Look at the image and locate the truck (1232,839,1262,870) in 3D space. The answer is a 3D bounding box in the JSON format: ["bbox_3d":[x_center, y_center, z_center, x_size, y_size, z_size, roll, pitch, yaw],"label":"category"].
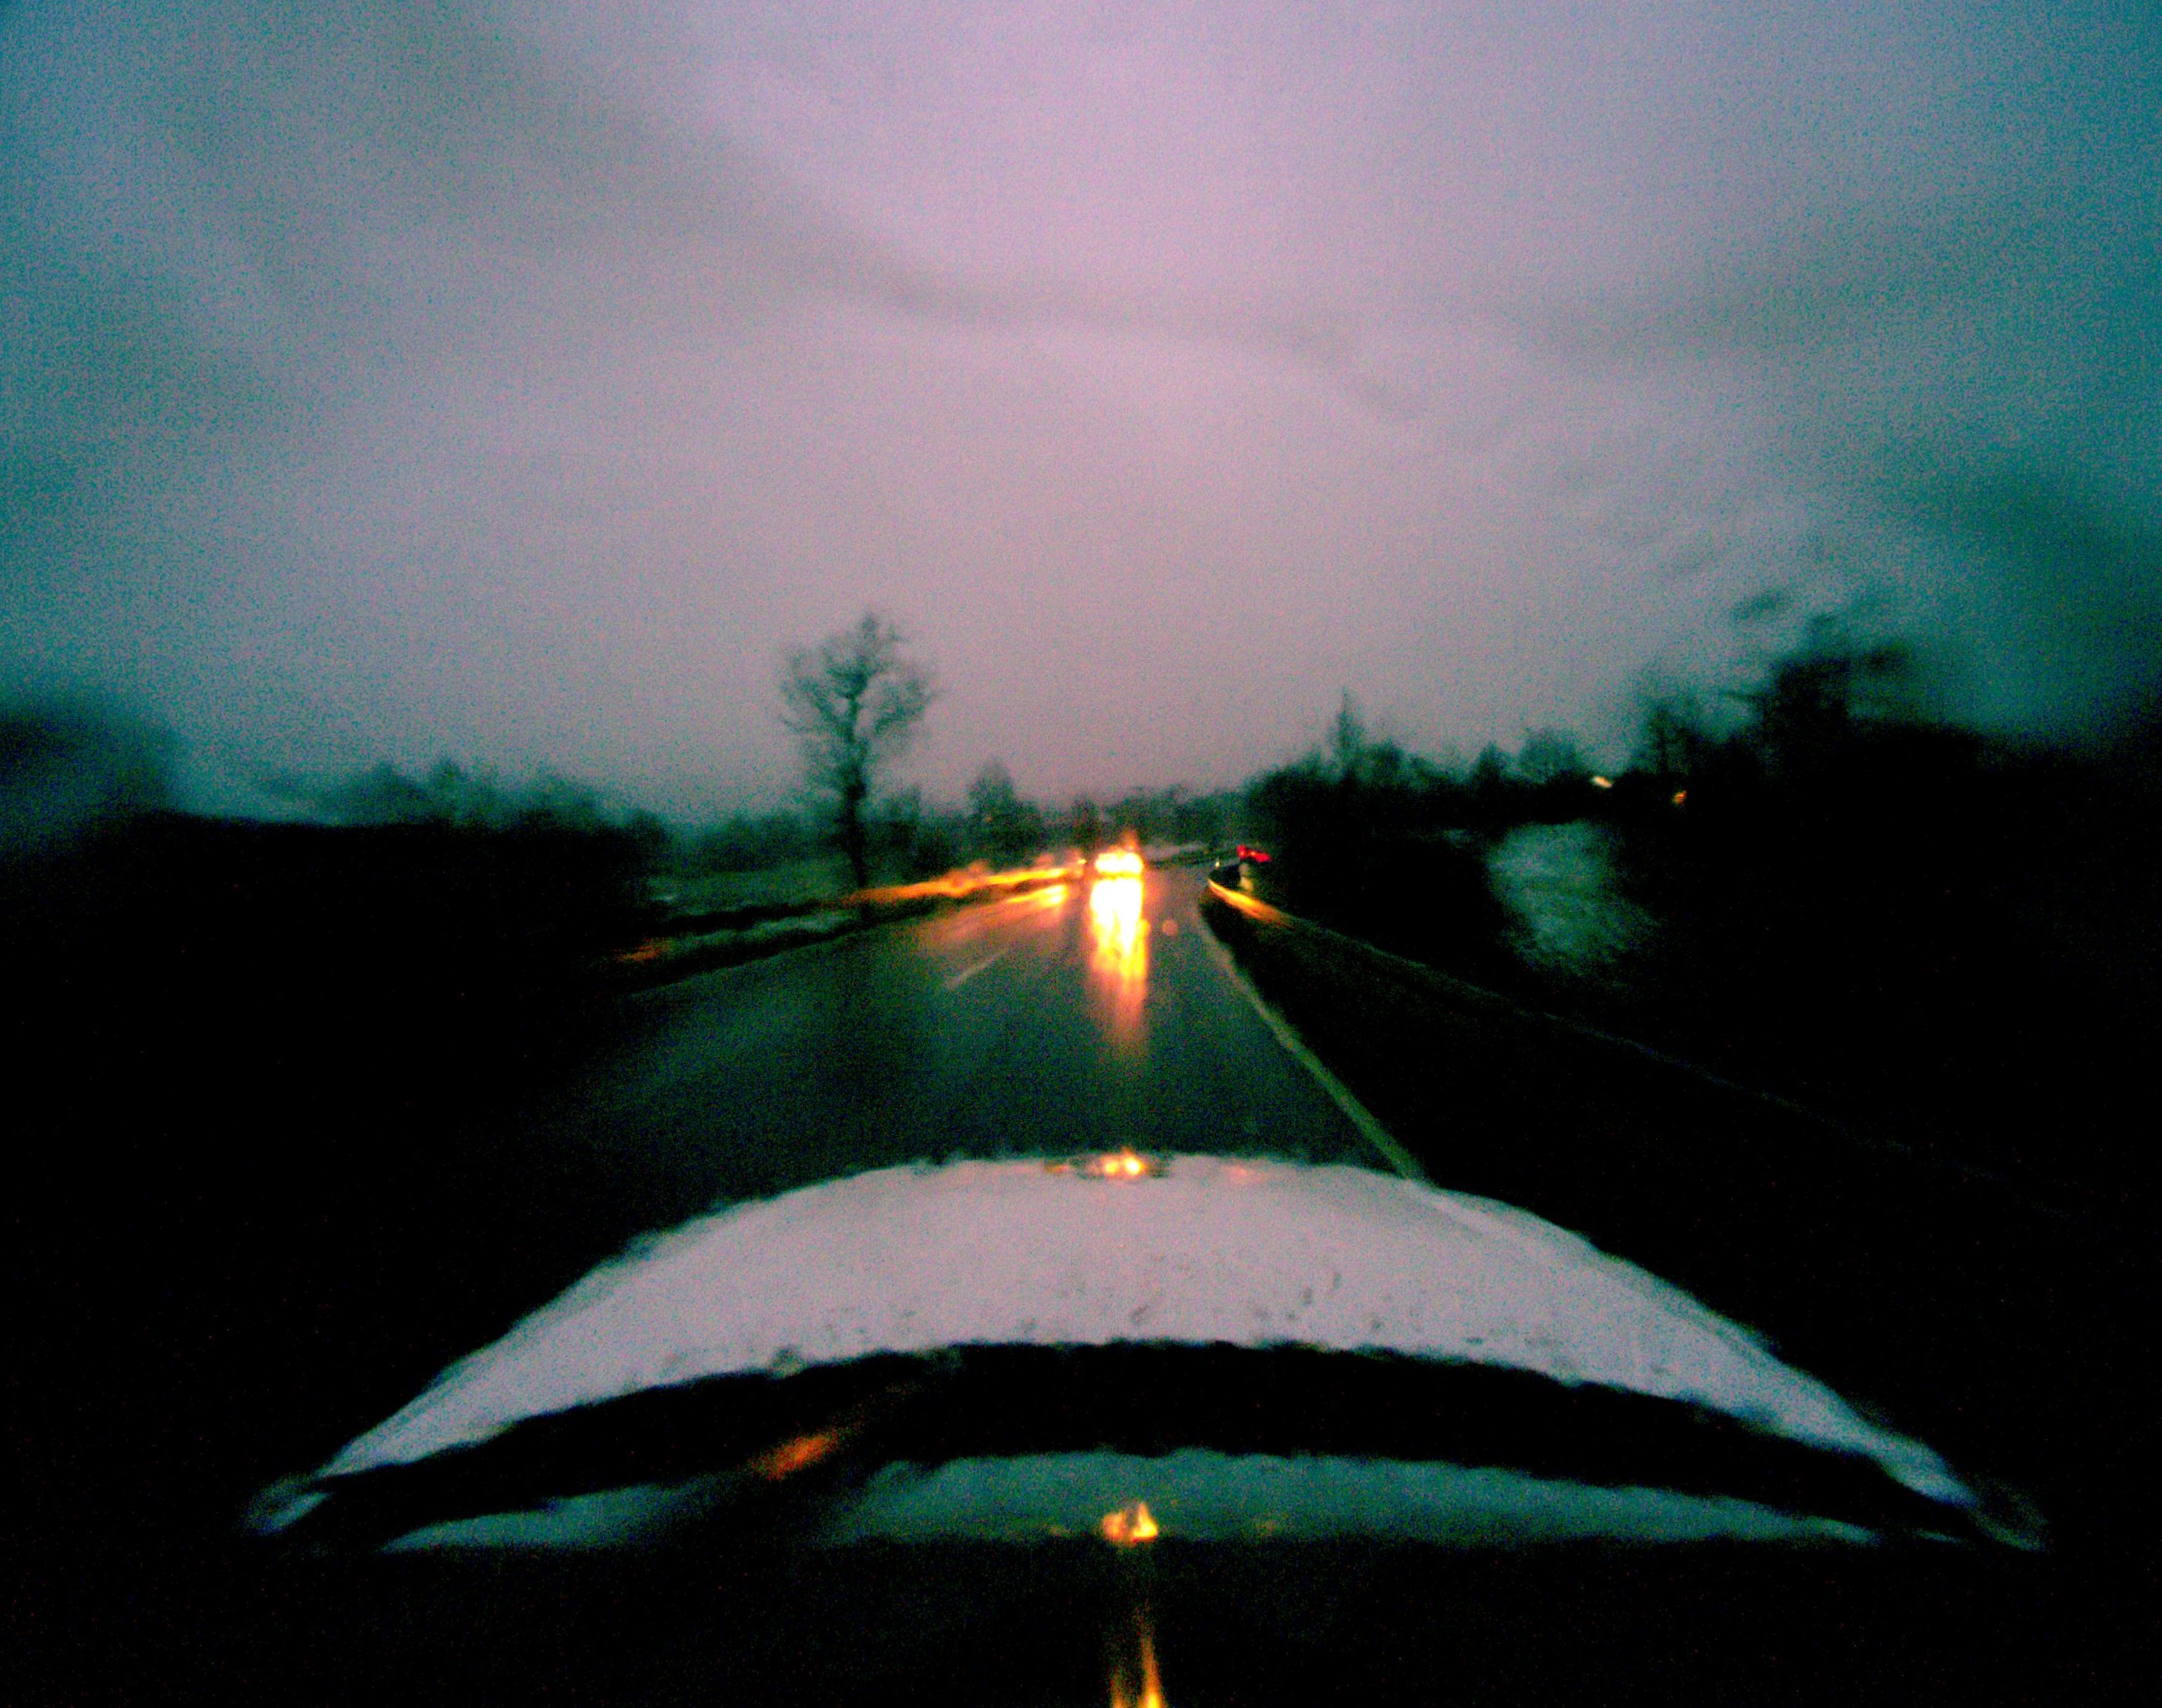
[{"bbox_3d":[17.033,0.035,83.247,2.513,2.869,5.946,-3,1,15],"label":"truck"}]

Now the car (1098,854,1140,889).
[{"bbox_3d":[2.344,0.980,48.393,1.872,1.863,5.019,-2,0,9],"label":"car"}]

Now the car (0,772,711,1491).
[{"bbox_3d":[-3.436,0.650,2.641,2.002,1.634,4.877,-2,0,3],"label":"car"}]
